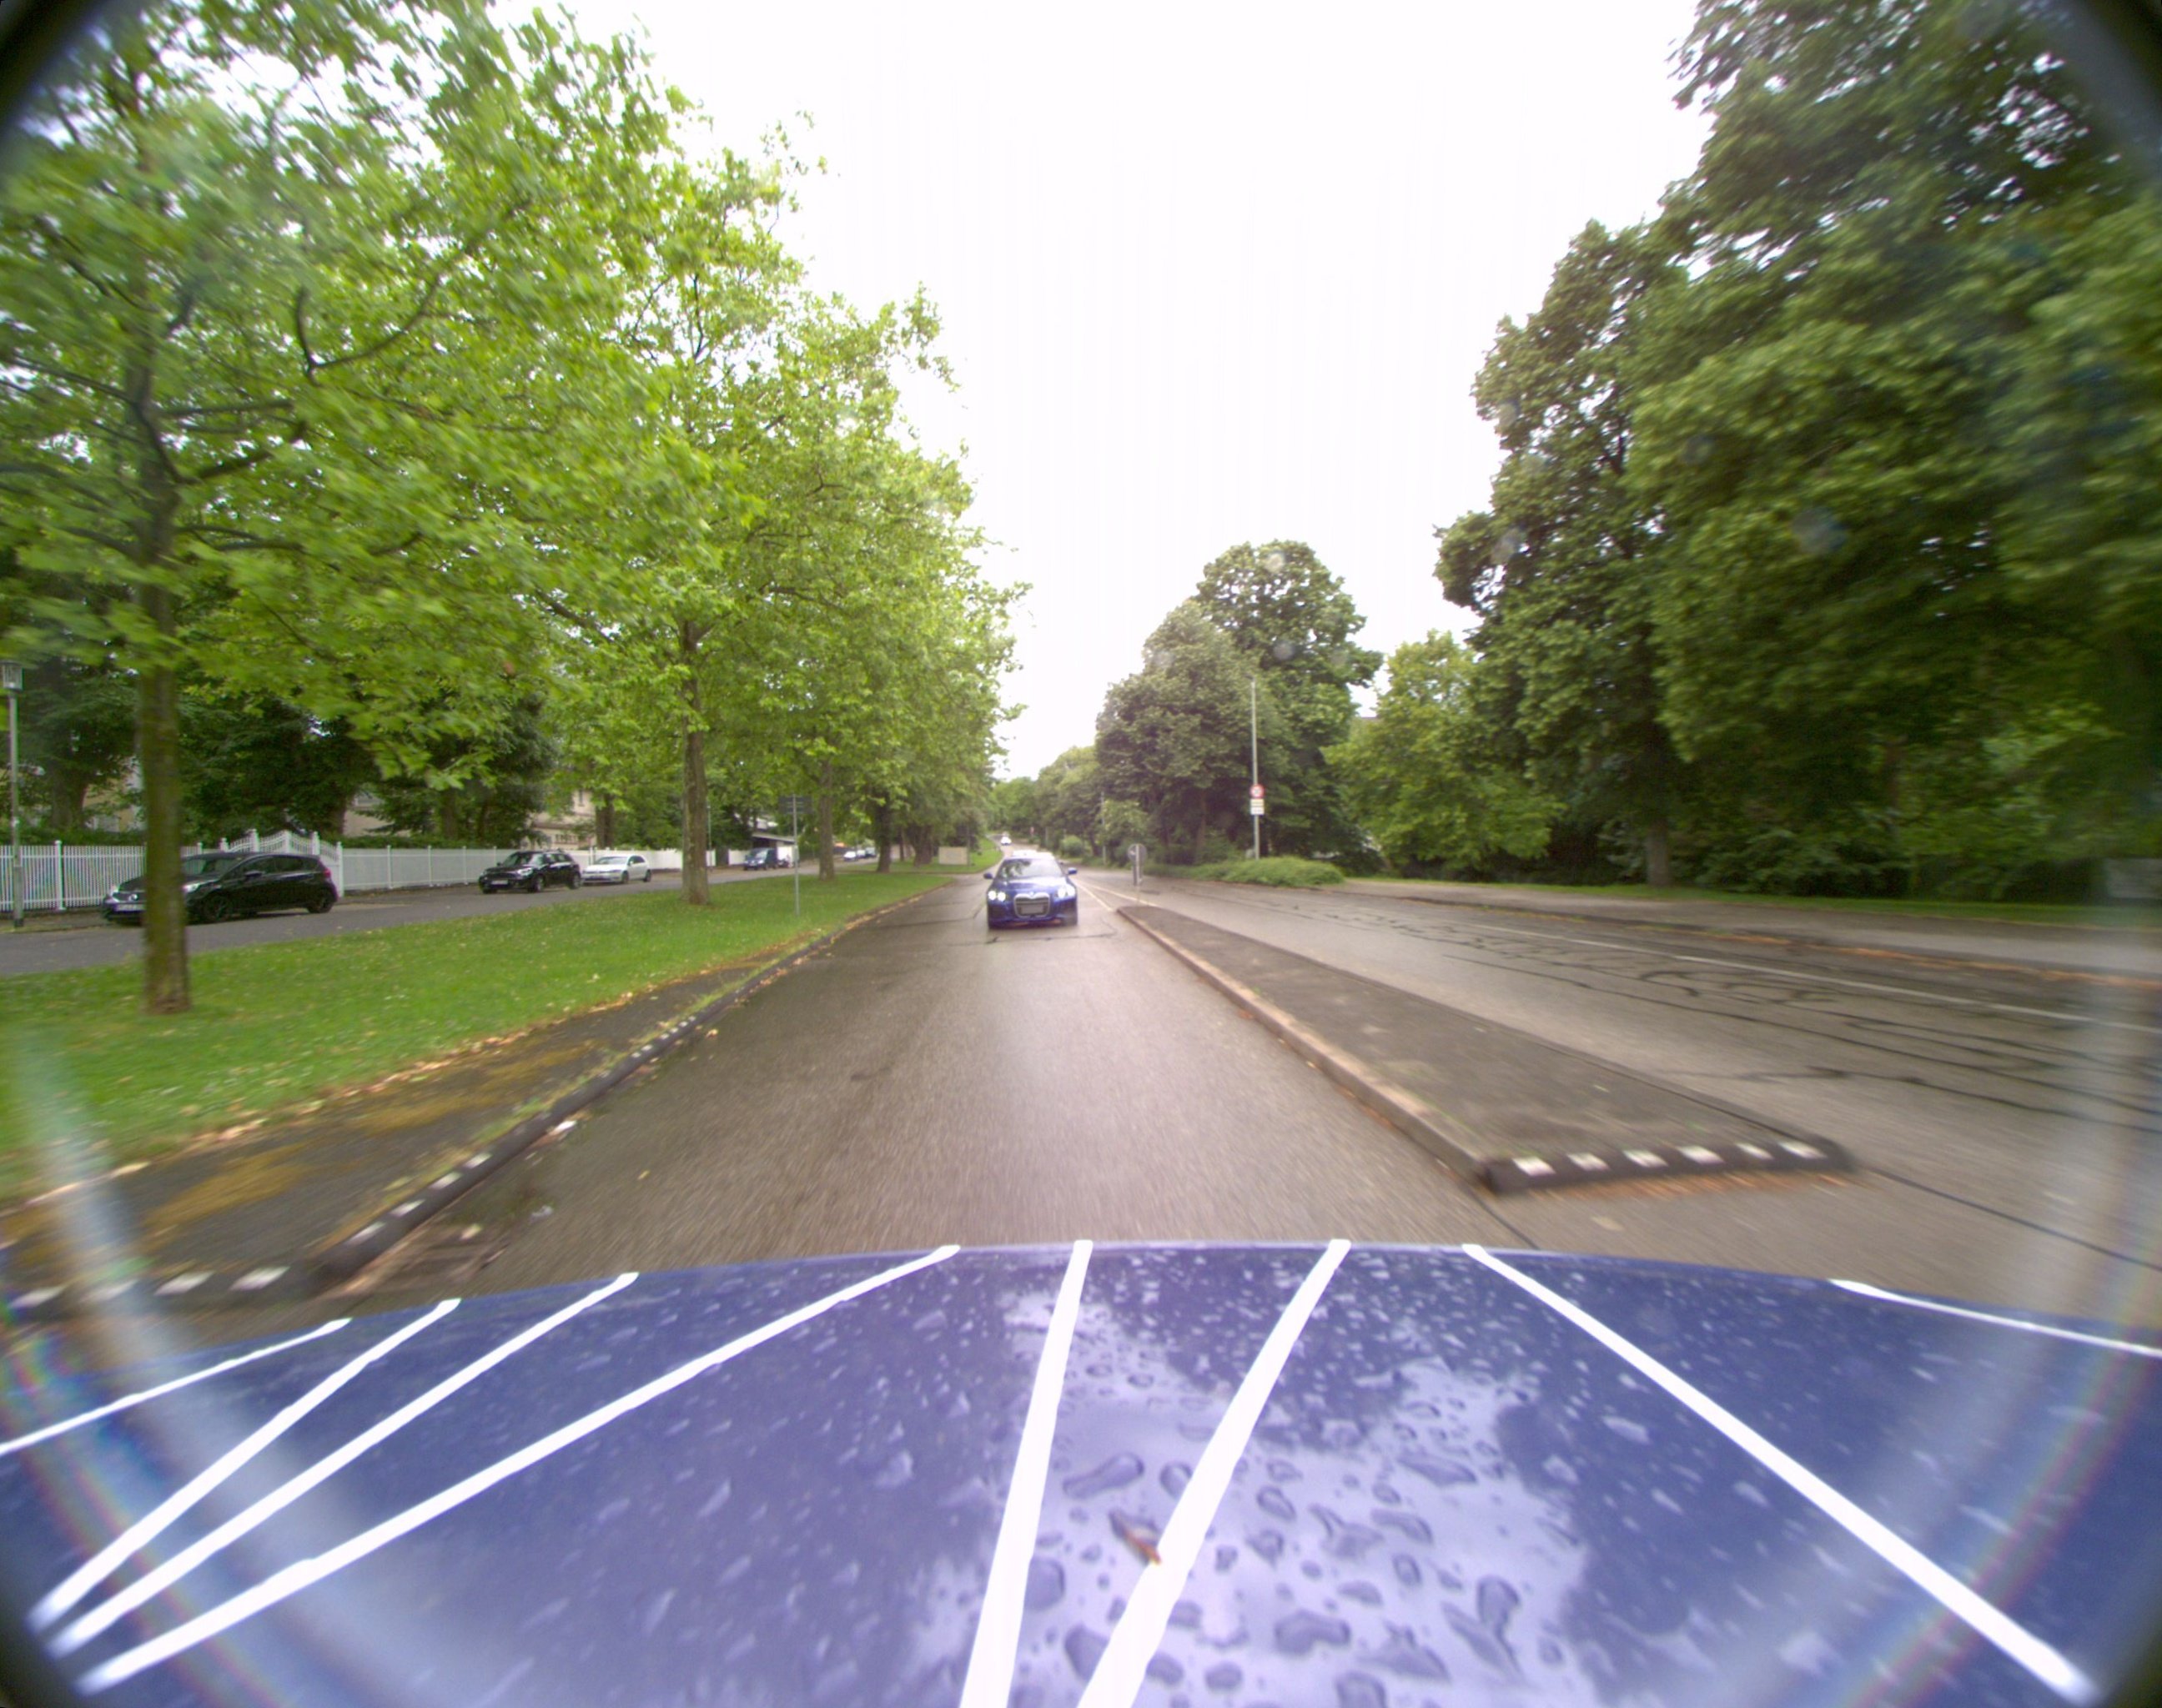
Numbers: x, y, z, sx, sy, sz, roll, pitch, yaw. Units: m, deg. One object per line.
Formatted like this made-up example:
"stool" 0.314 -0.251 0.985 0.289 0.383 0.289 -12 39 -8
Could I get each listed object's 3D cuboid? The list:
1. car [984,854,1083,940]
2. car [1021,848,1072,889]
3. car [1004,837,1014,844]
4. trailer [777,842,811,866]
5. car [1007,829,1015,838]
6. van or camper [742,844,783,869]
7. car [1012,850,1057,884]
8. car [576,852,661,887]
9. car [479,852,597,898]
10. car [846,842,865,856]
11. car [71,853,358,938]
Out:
"car" -1.135 0.813 16.613 1.827 1.471 4.064 -3 1 -7
"car" -1.517 0.546 31.784 1.826 1.471 4.064 -3 1 -6
"car" -16.002 -3.019 168.485 1.826 1.471 4.066 -3 1 0
"trailer" -27.190 -0.016 72.037 1.772 2.105 5.188 -3 1 -8
"car" -18.482 -5.427 201.461 2.000 2.002 4.570 -1 1 -7
"van or camper" -26.007 0.169 62.167 2.000 1.798 4.770 -3 1 -10
"car" -2.368 0.600 37.842 2.033 1.471 4.064 -3 1 -6
"car" -22.200 0.712 36.684 2.000 1.441 4.120 -3 1 -9
"car" -20.872 0.749 29.459 2.000 1.463 4.120 -3 1 -9
"car" -33.698 -0.710 113.466 1.999 2.002 3.997 -1 1 -6
"car" -19.145 0.811 17.172 1.766 1.463 4.353 -5 2 -9
